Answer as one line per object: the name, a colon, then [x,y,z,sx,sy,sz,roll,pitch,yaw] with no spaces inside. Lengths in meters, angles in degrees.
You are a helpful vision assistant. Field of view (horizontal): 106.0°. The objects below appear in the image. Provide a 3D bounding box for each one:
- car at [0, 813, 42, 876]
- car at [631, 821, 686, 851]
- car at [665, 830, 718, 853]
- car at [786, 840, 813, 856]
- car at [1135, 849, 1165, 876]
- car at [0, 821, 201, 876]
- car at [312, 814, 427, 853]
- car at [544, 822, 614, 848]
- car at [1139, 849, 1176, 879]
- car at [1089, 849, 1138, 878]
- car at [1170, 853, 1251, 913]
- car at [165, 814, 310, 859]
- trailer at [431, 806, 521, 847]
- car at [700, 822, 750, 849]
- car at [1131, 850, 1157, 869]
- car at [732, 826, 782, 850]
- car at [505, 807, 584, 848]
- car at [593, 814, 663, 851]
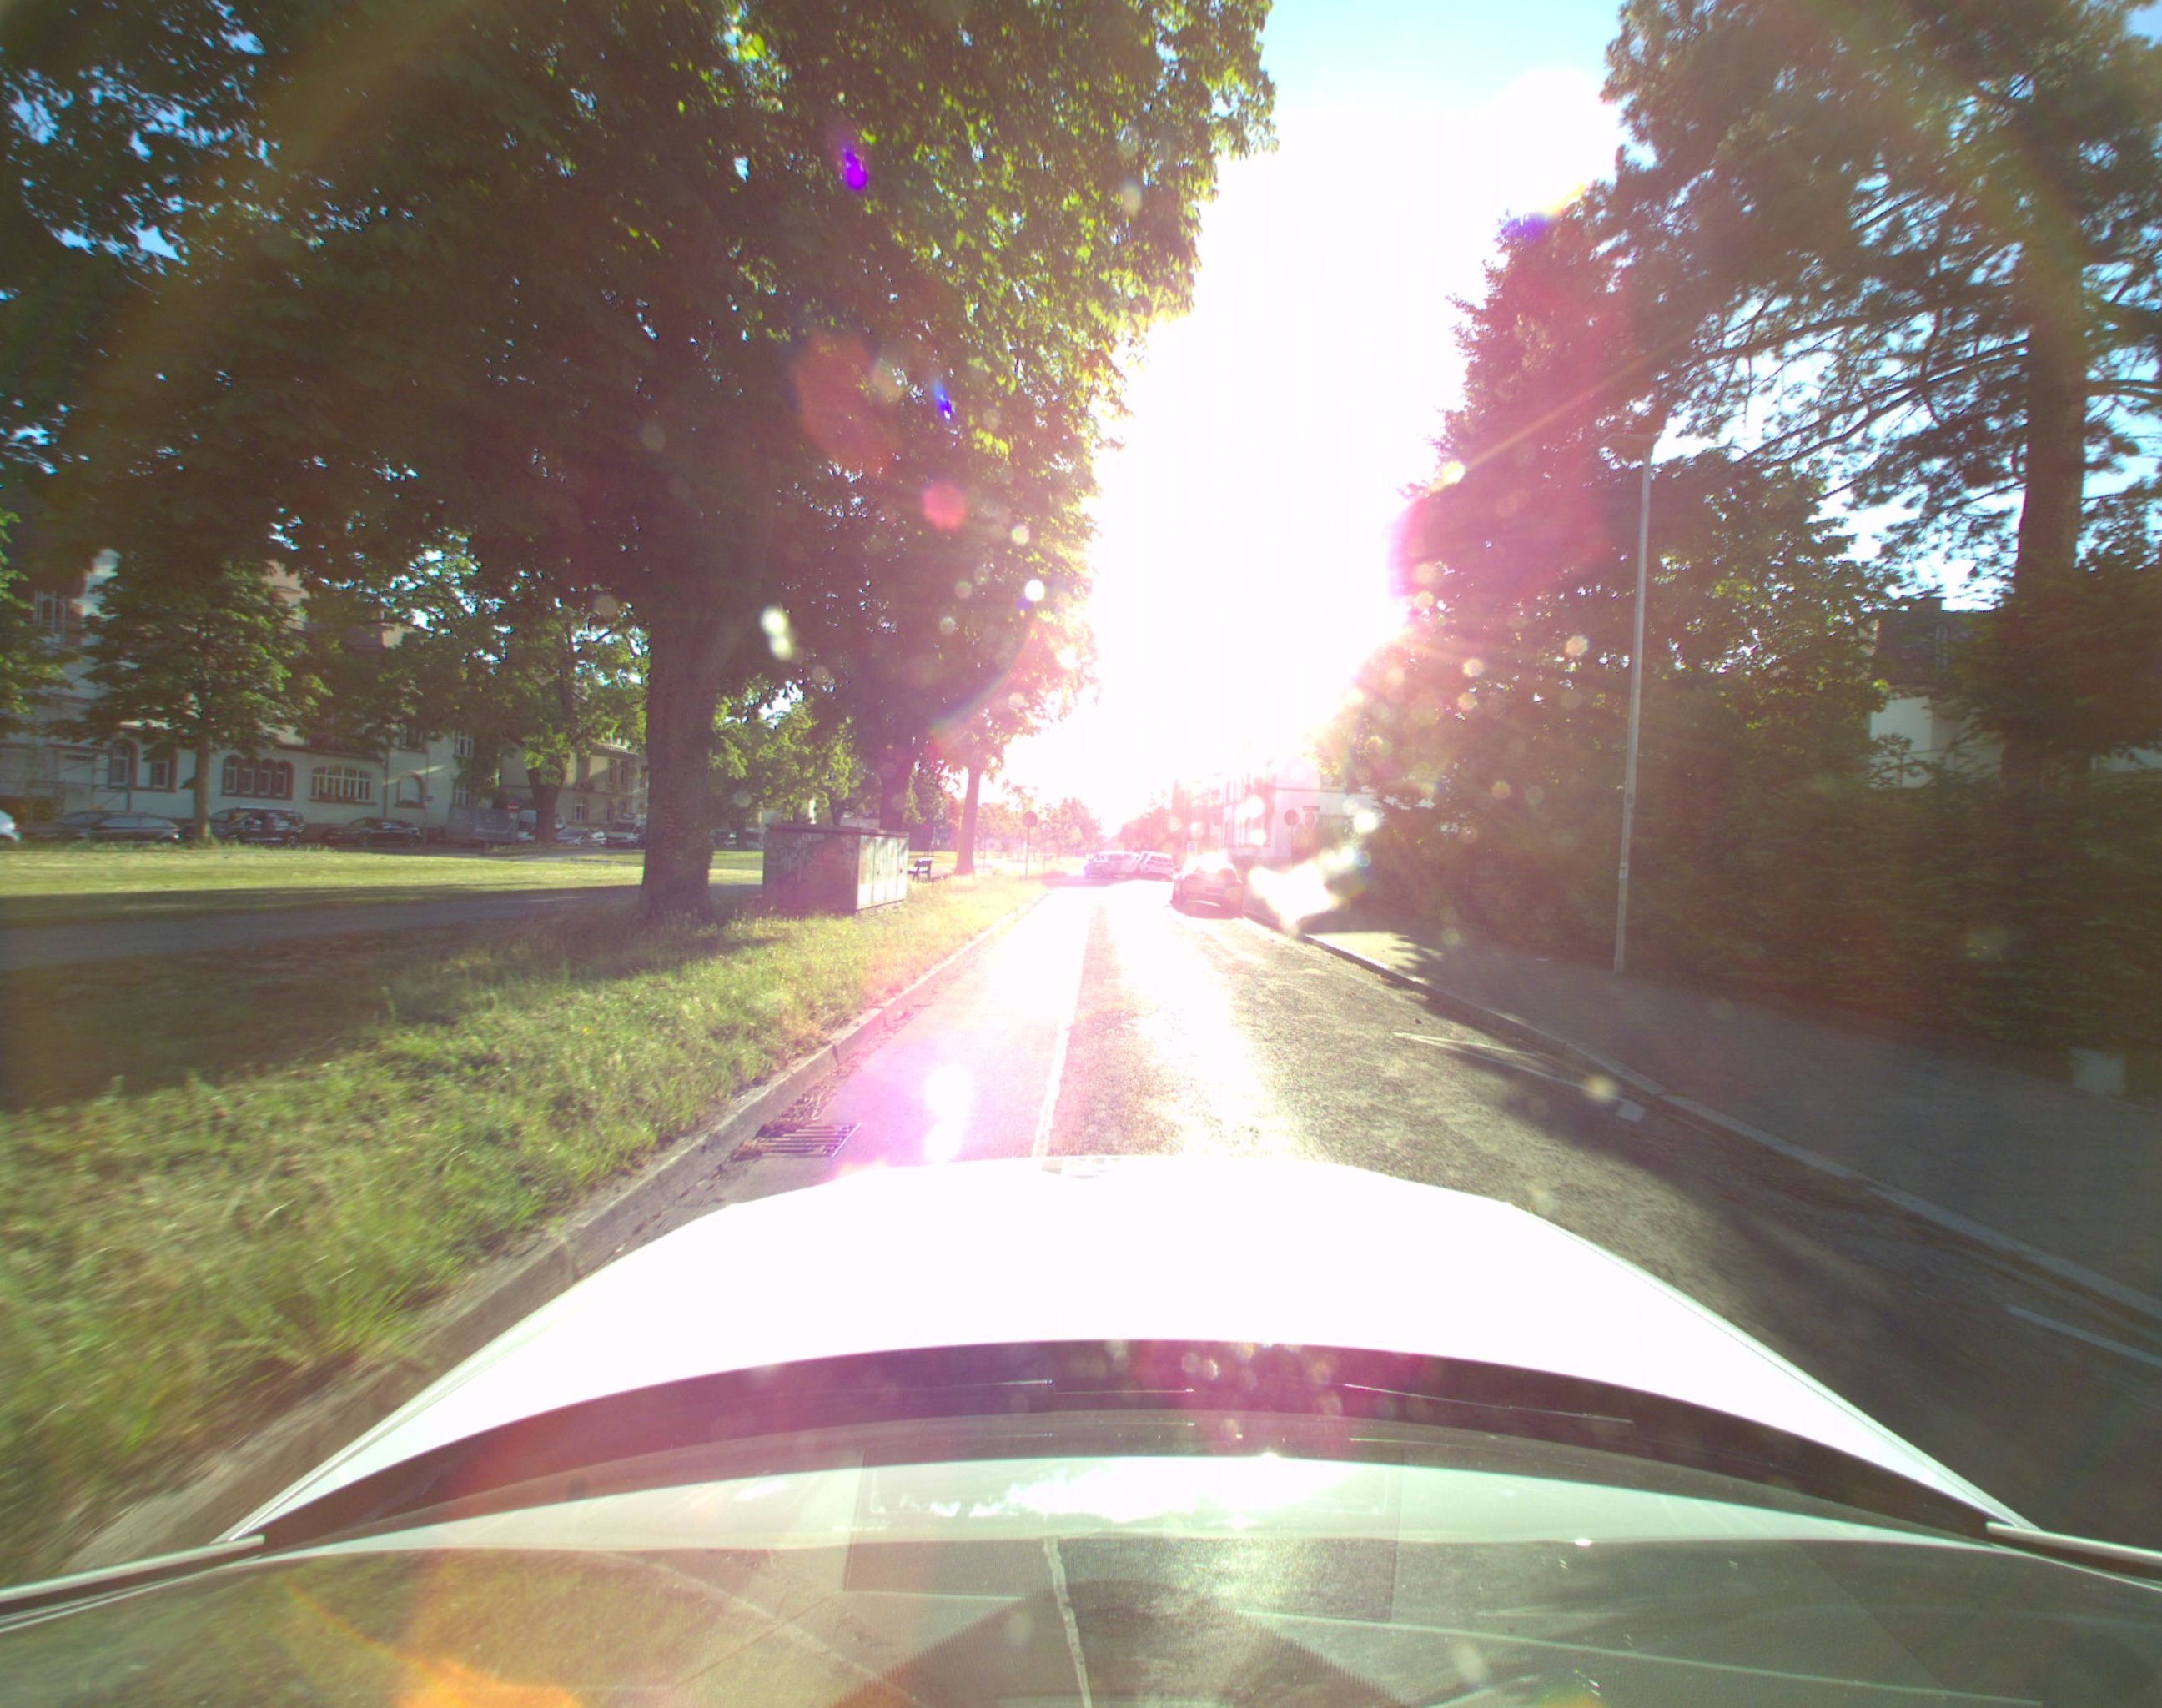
car: [-33.139,-0.324,22.978,1.985,1.860,4.258,3,0,3]
car: [-32.099,-1.350,62.000,1.678,2.175,4.317,2,0,2]
car: [-32.050,-1.033,67.171,1.985,1.793,4.488,2,0,3]
car: [-36.947,-0.811,106.979,1.986,2.013,4.486,0,0,1]
car: [4.505,0.534,53.592,1.679,1.651,4.101,2,1,1]
car: [-33.218,-0.190,27.577,1.985,1.649,4.258,3,0,3]
car: [-38.663,-1.088,44.425,1.987,1.952,4.751,2,0,0]
car: [-32.253,-1.174,52.466,1.678,1.559,4.317,2,0,2]
car: [4.420,0.535,47.816,1.753,1.605,4.359,2,1,0]
car: [1.747,0.483,44.548,1.762,1.420,3.984,-1,1,-12]
car: [3.806,0.798,24.513,1.750,1.419,4.074,8,1,2]
car: [-38.559,-0.783,37.420,1.988,1.876,4.494,2,0,-1]
trailer: [-38.178,-1.690,51.556,1.986,2.428,4.726,2,0,2]
car: [-31.810,-1.596,72.956,1.986,2.250,5.189,2,0,2]
car: [4.835,0.405,62.980,1.755,1.420,4.000,1,1,0]
car: [-31.813,-1.583,80.116,2.525,2.236,5.462,1,1,2]
car: [-38.009,-1.812,57.910,1.986,2.672,5.189,2,0,2]
car: [-37.783,-1.714,68.163,2.429,2.922,5.820,0,0,1]
